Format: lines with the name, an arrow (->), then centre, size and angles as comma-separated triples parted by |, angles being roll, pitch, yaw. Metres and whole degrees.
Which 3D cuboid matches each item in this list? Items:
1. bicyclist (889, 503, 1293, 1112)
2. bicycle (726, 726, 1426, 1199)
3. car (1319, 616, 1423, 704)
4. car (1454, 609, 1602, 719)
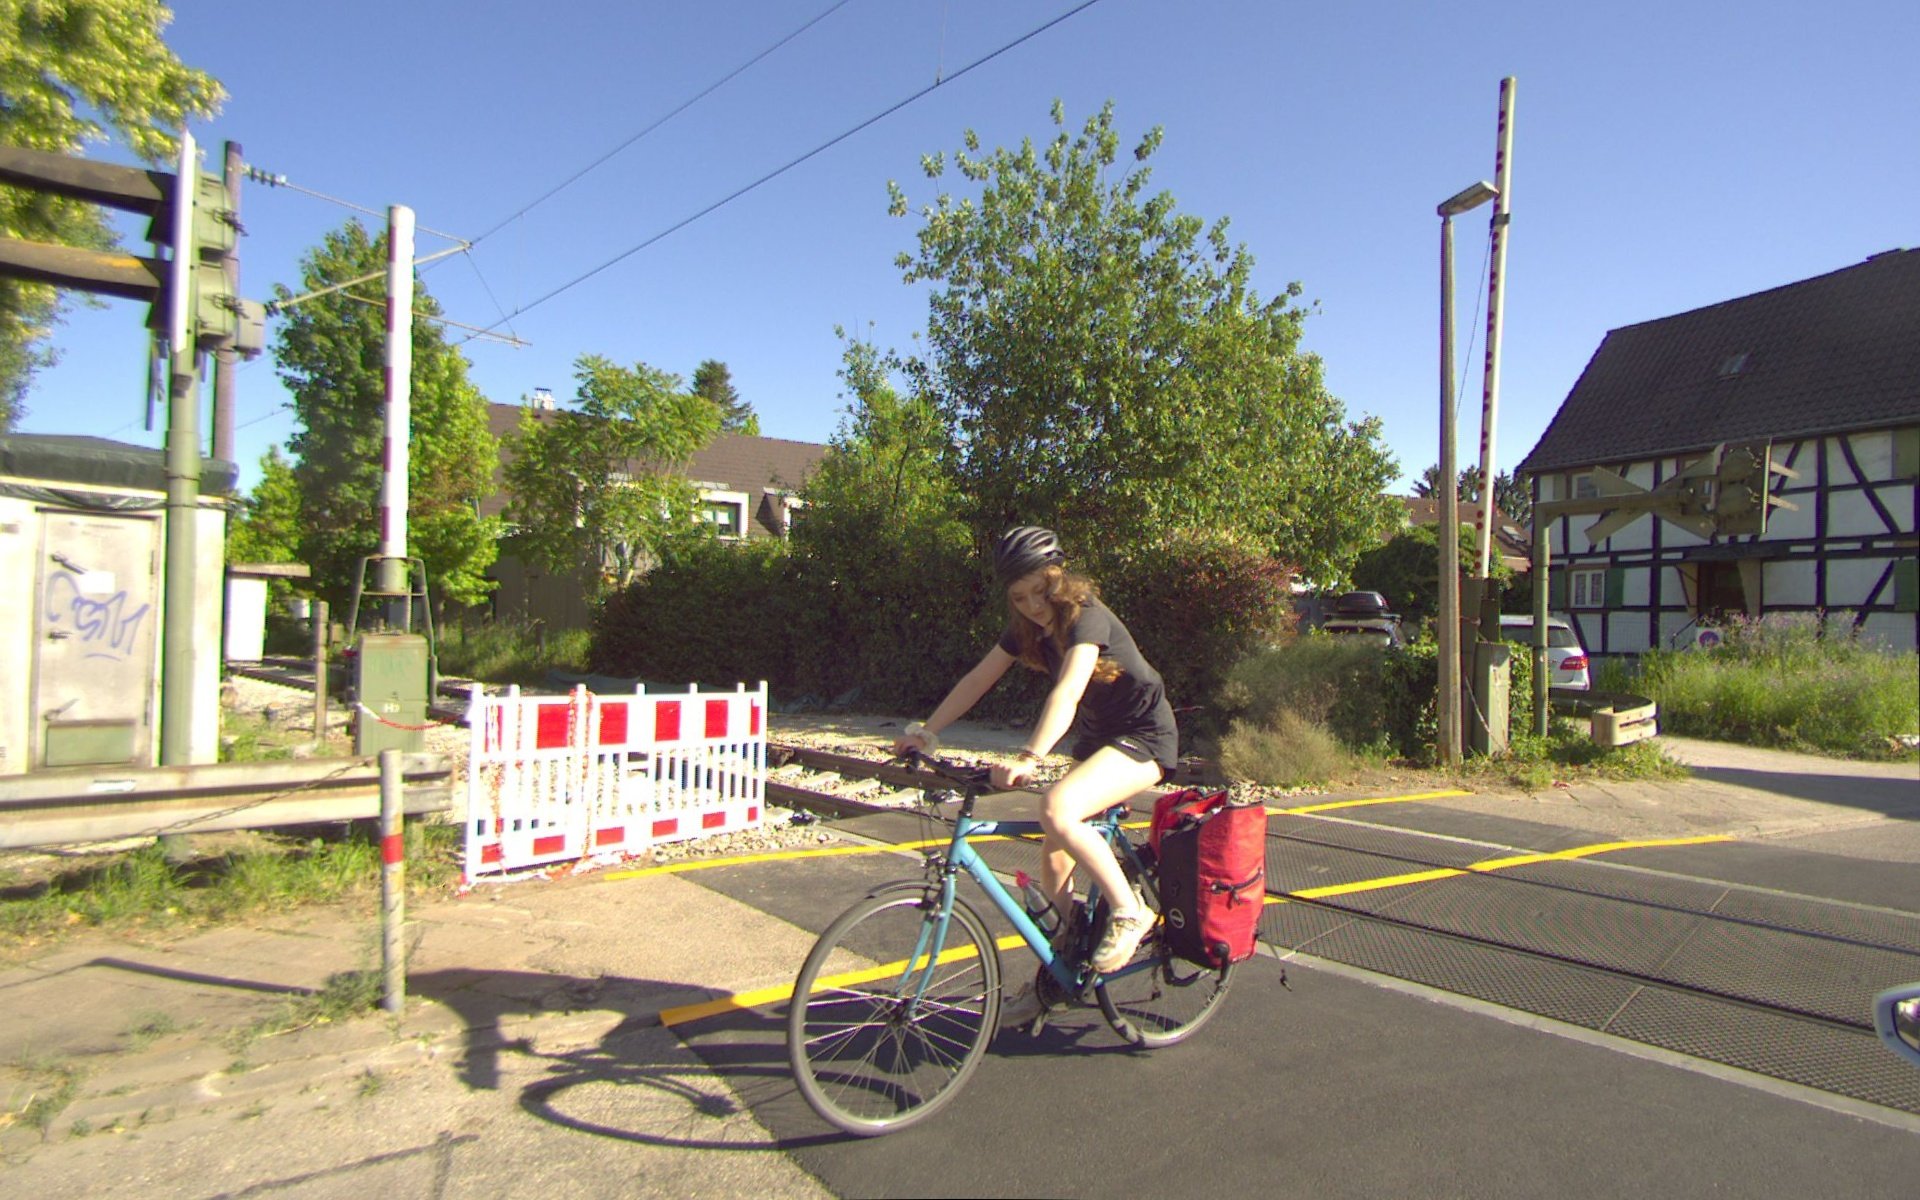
bicyclist -> 0.379, 0.545, 3.154 | 0.862, 1.561, 0.844 | 3, 0, -29
bicycle -> 0.403, 0.974, 3.183 | 2.038, 1.018, 0.880 | 3, 0, -29
car -> 7.638, 1.039, 18.716 | 1.610, 1.420, 3.831 | 1, -1, 22
car -> 9.627, 1.014, 17.298 | 1.656, 1.585, 3.999 | 2, 0, 22
